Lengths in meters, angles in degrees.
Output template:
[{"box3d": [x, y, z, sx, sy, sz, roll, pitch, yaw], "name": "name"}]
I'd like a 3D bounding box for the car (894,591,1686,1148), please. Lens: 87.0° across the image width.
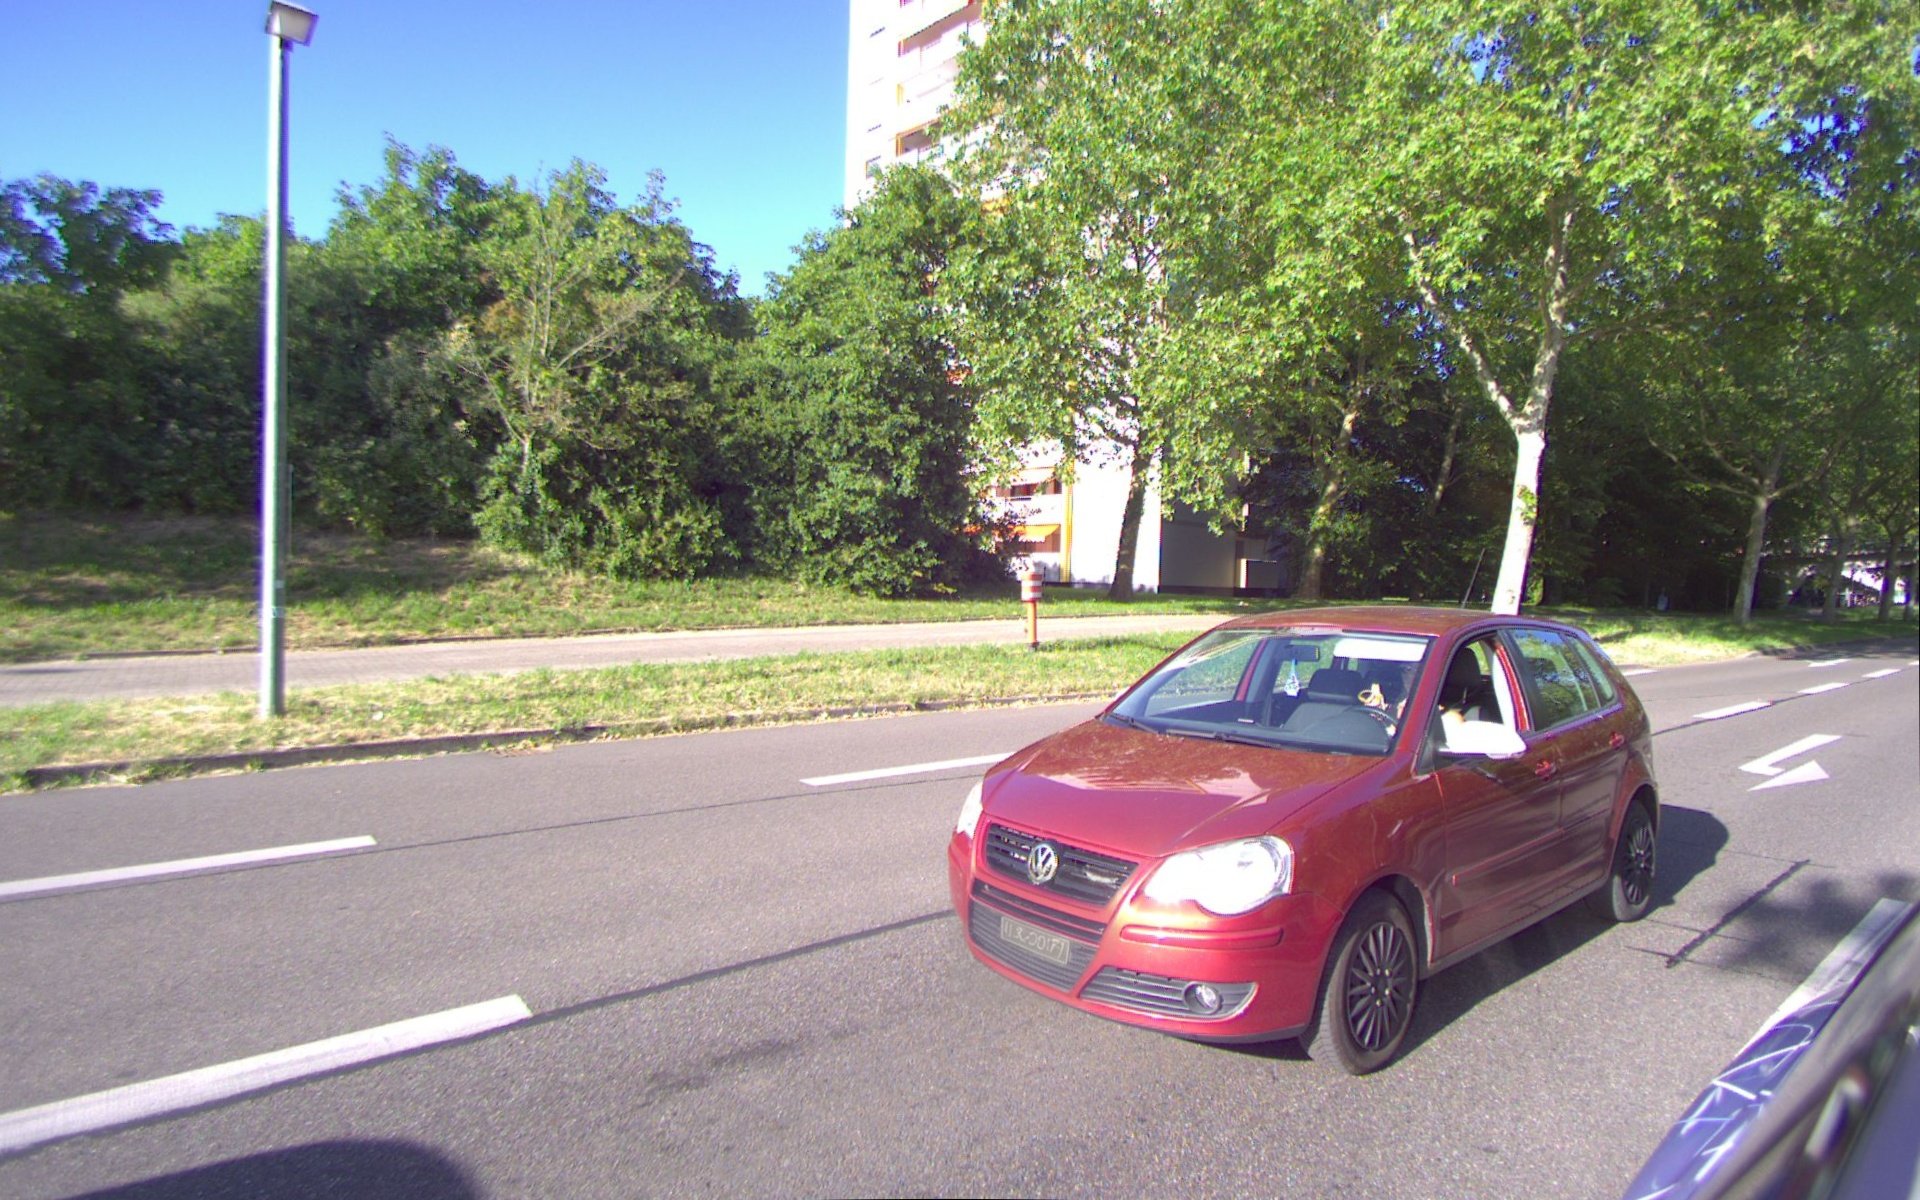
[{"box3d": [1.680, 0.698, 4.501, 3.694, 1.456, 1.645, -1, 1, -40], "name": "car"}]
